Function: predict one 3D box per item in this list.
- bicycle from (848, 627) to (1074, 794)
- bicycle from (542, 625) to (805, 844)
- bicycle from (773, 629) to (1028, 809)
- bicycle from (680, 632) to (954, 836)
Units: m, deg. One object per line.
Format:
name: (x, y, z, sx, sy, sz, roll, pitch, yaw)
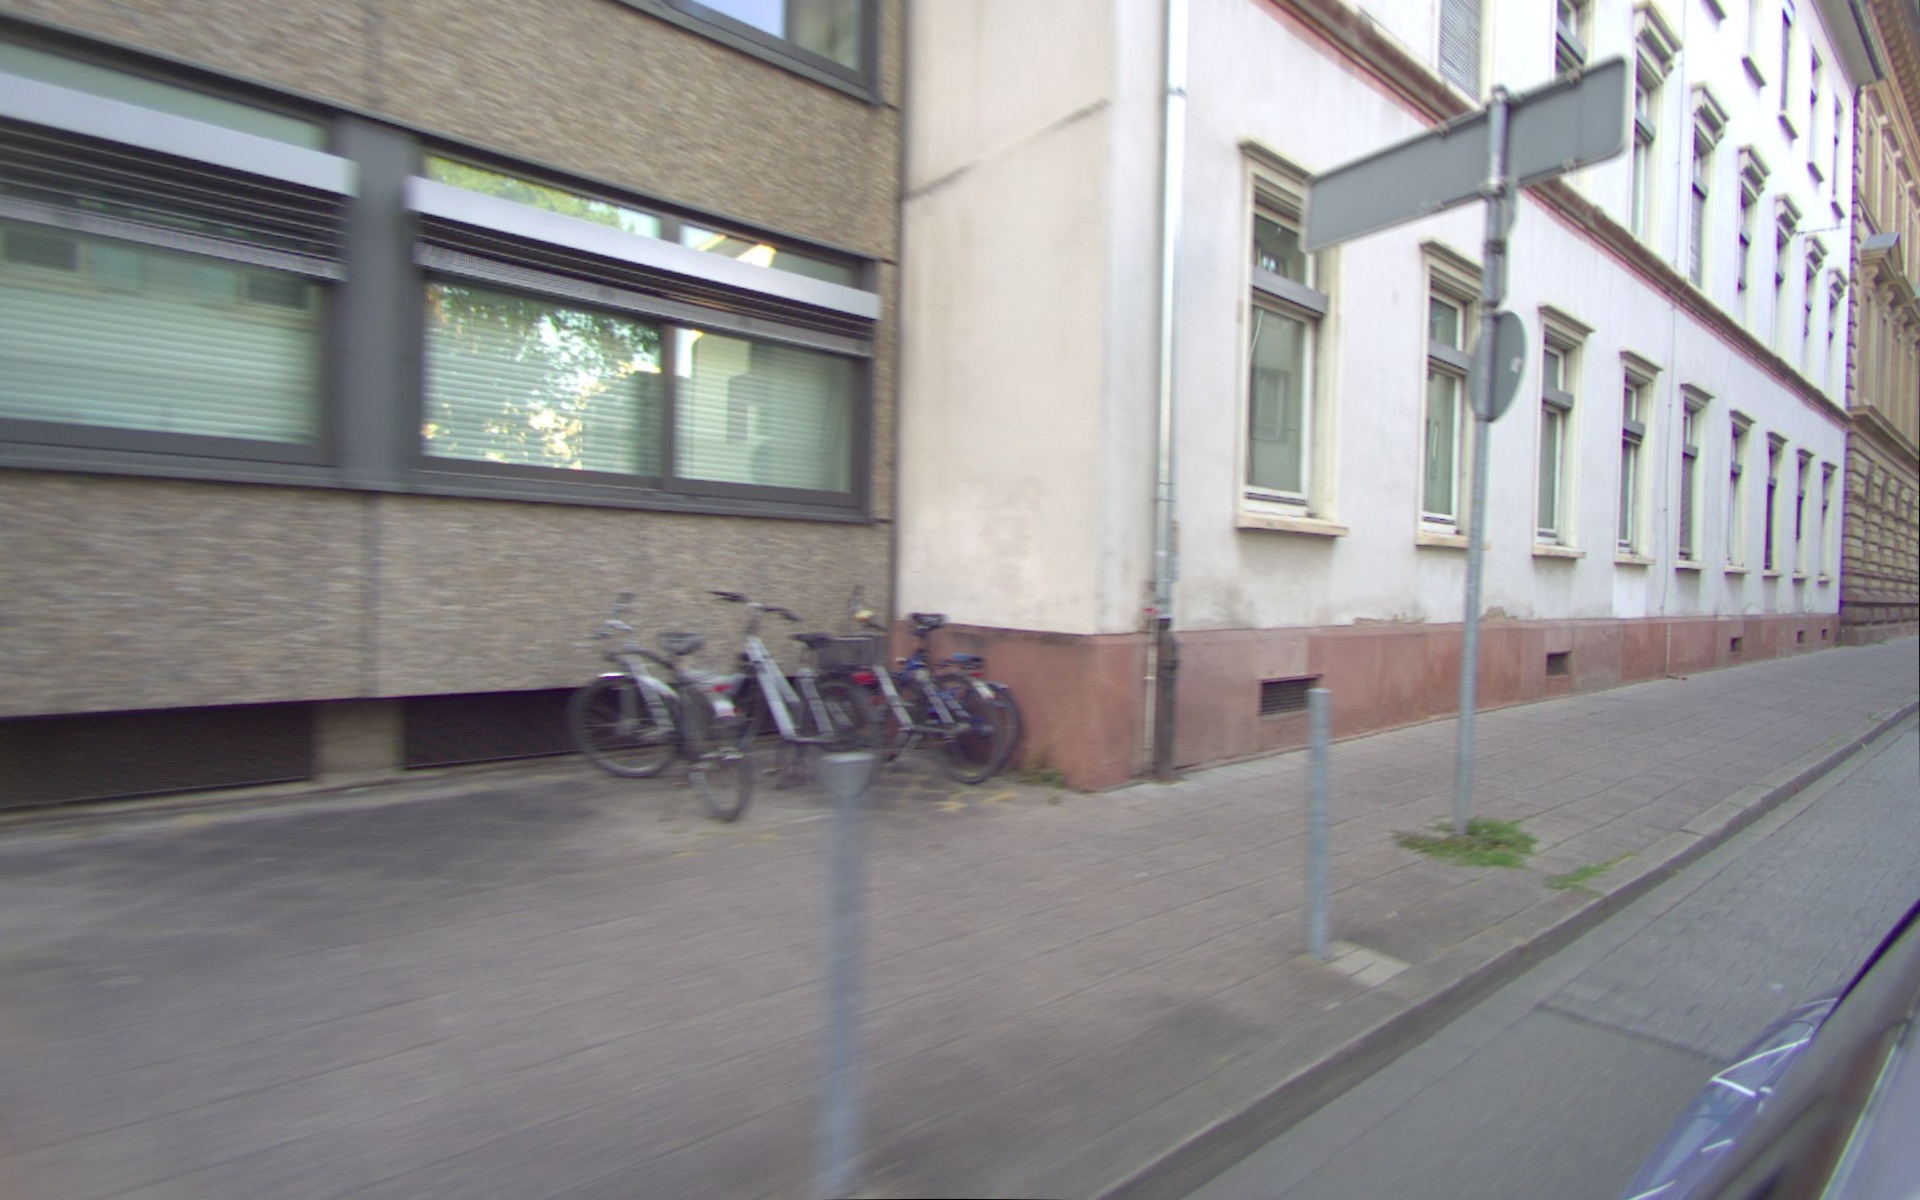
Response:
bicycle: (-0.048, 0.687, 6.872, 0.389, 0.934, 1.796, 0, 1, -44)
bicycle: (-1.594, 0.638, 5.442, 1.739, 0.934, 0.530, 1, 1, 43)
bicycle: (-0.429, 0.688, 6.456, 1.794, 0.934, 0.509, 1, 1, 42)
bicycle: (-0.878, 0.691, 5.836, 1.794, 0.934, 0.530, 1, 1, 42)
